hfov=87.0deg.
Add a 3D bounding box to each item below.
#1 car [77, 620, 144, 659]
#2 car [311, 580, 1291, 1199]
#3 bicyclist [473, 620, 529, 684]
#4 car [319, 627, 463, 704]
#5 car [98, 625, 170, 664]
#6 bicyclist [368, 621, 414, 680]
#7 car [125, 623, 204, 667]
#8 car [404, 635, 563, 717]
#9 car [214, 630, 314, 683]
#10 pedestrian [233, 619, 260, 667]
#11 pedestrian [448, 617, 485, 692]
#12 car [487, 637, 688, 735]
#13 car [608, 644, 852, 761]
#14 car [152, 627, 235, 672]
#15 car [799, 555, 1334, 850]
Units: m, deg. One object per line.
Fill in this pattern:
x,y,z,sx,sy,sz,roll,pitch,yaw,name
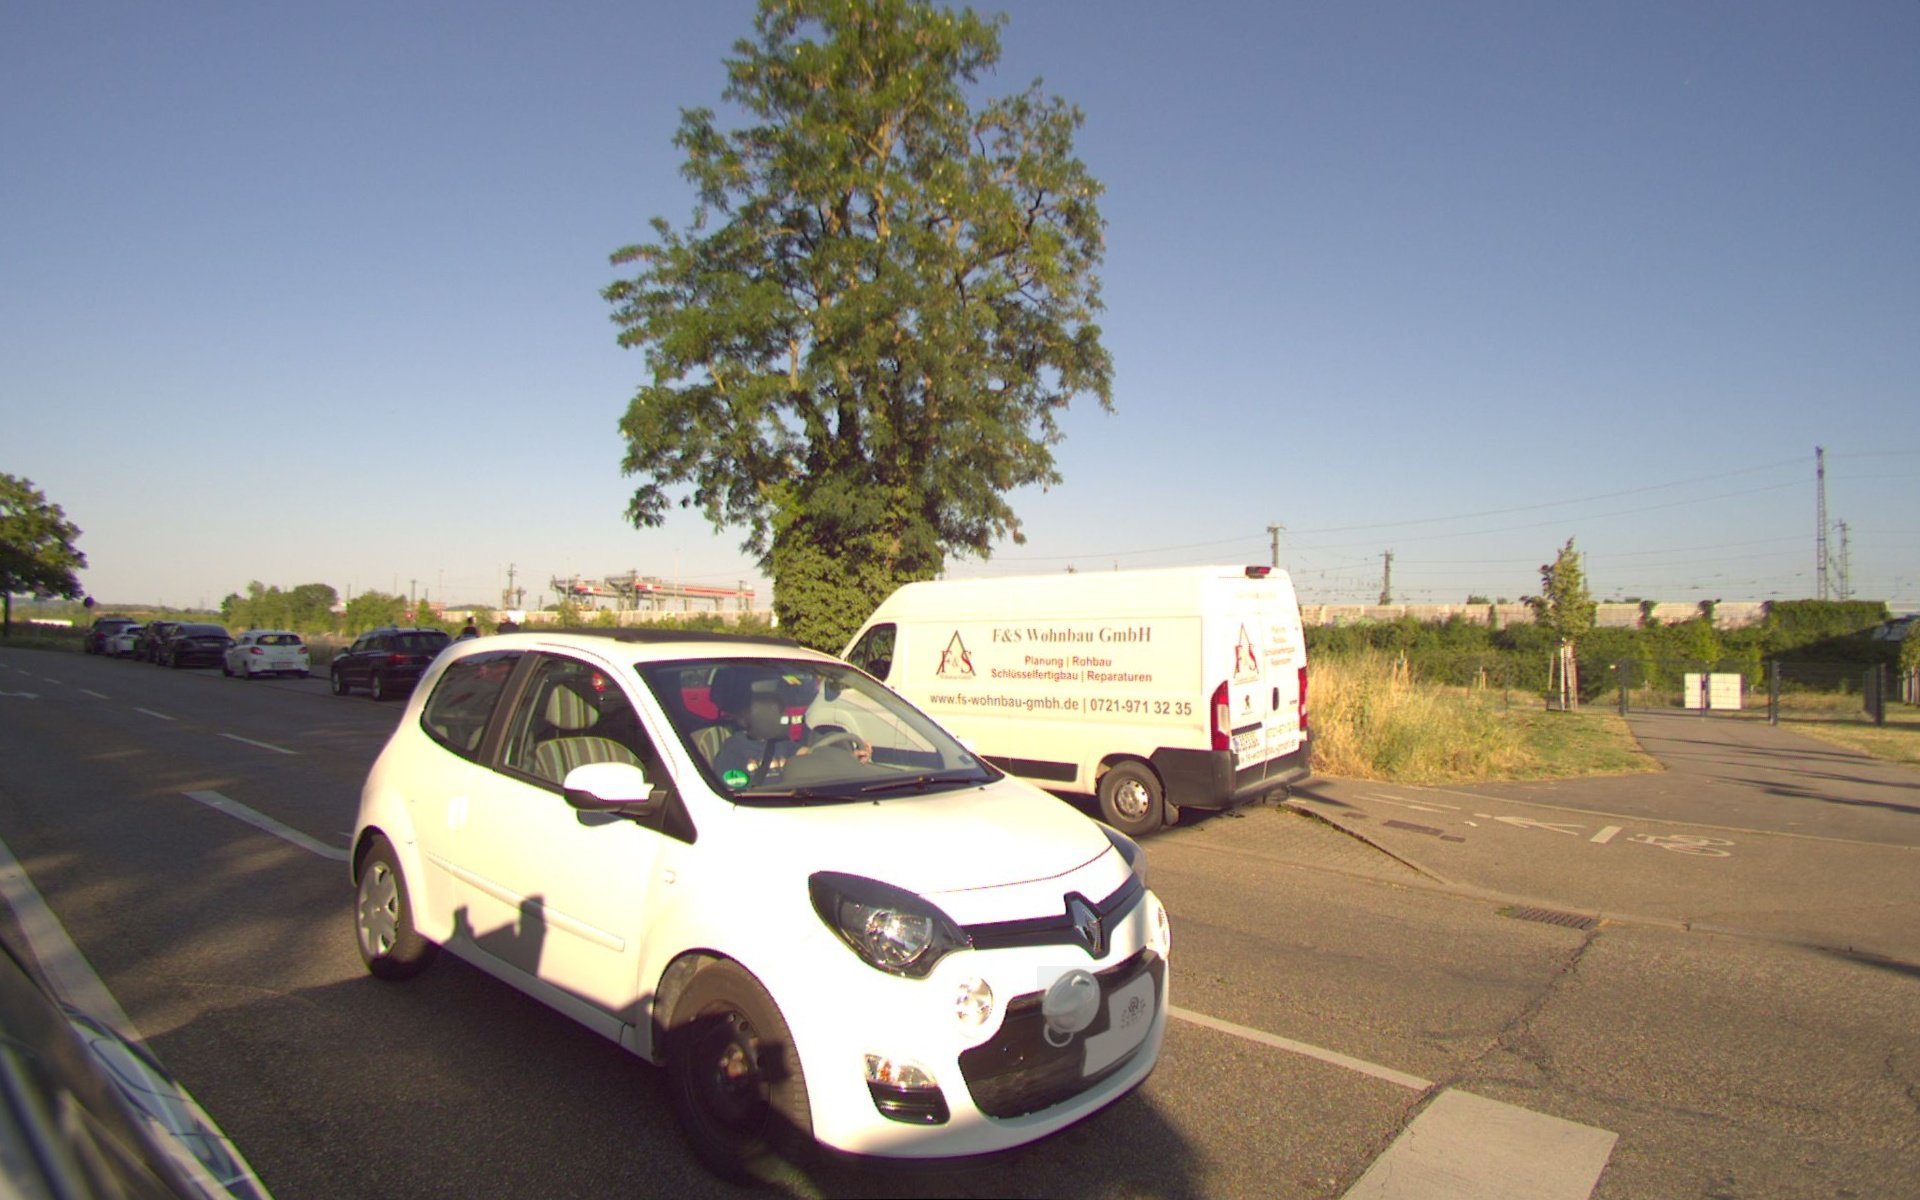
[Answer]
-40.844,1.893,48.612,4.219,1.789,1.866,-1,-4,43,car
-0.874,0.772,3.946,3.772,1.480,1.683,-1,-4,40,car
-11.864,1.345,26.150,1.145,1.609,0.855,-1,-4,41,bicyclist
-13.601,1.524,24.120,4.003,1.672,1.642,-1,-4,40,car
-36.473,1.950,44.665,4.219,1.586,1.799,-1,-4,43,car
-16.174,1.431,28.746,1.146,1.609,0.758,-1,-4,43,bicyclist
-32.387,1.810,41.154,4.219,1.650,1.799,-1,-4,43,car
-10.019,1.546,21.201,3.577,1.541,1.642,-1,-4,40,car
-21.562,1.730,31.296,3.582,1.538,1.684,-1,-4,42,car
-30.679,1.838,43.508,0.710,2.029,0.697,-1,-4,42,pedestrian
-13.722,1.510,28.141,0.729,2.029,0.608,-1,-4,39,pedestrian
-6.803,1.494,18.322,3.814,1.541,1.723,-1,-4,40,car
-3.553,1.473,15.400,3.692,1.498,1.723,-1,-4,40,car
-28.238,1.813,37.232,1.798,1.538,4.292,5,-4,-45,car
0.924,0.894,11.087,5.556,2.455,2.207,-1,-1,40,car
